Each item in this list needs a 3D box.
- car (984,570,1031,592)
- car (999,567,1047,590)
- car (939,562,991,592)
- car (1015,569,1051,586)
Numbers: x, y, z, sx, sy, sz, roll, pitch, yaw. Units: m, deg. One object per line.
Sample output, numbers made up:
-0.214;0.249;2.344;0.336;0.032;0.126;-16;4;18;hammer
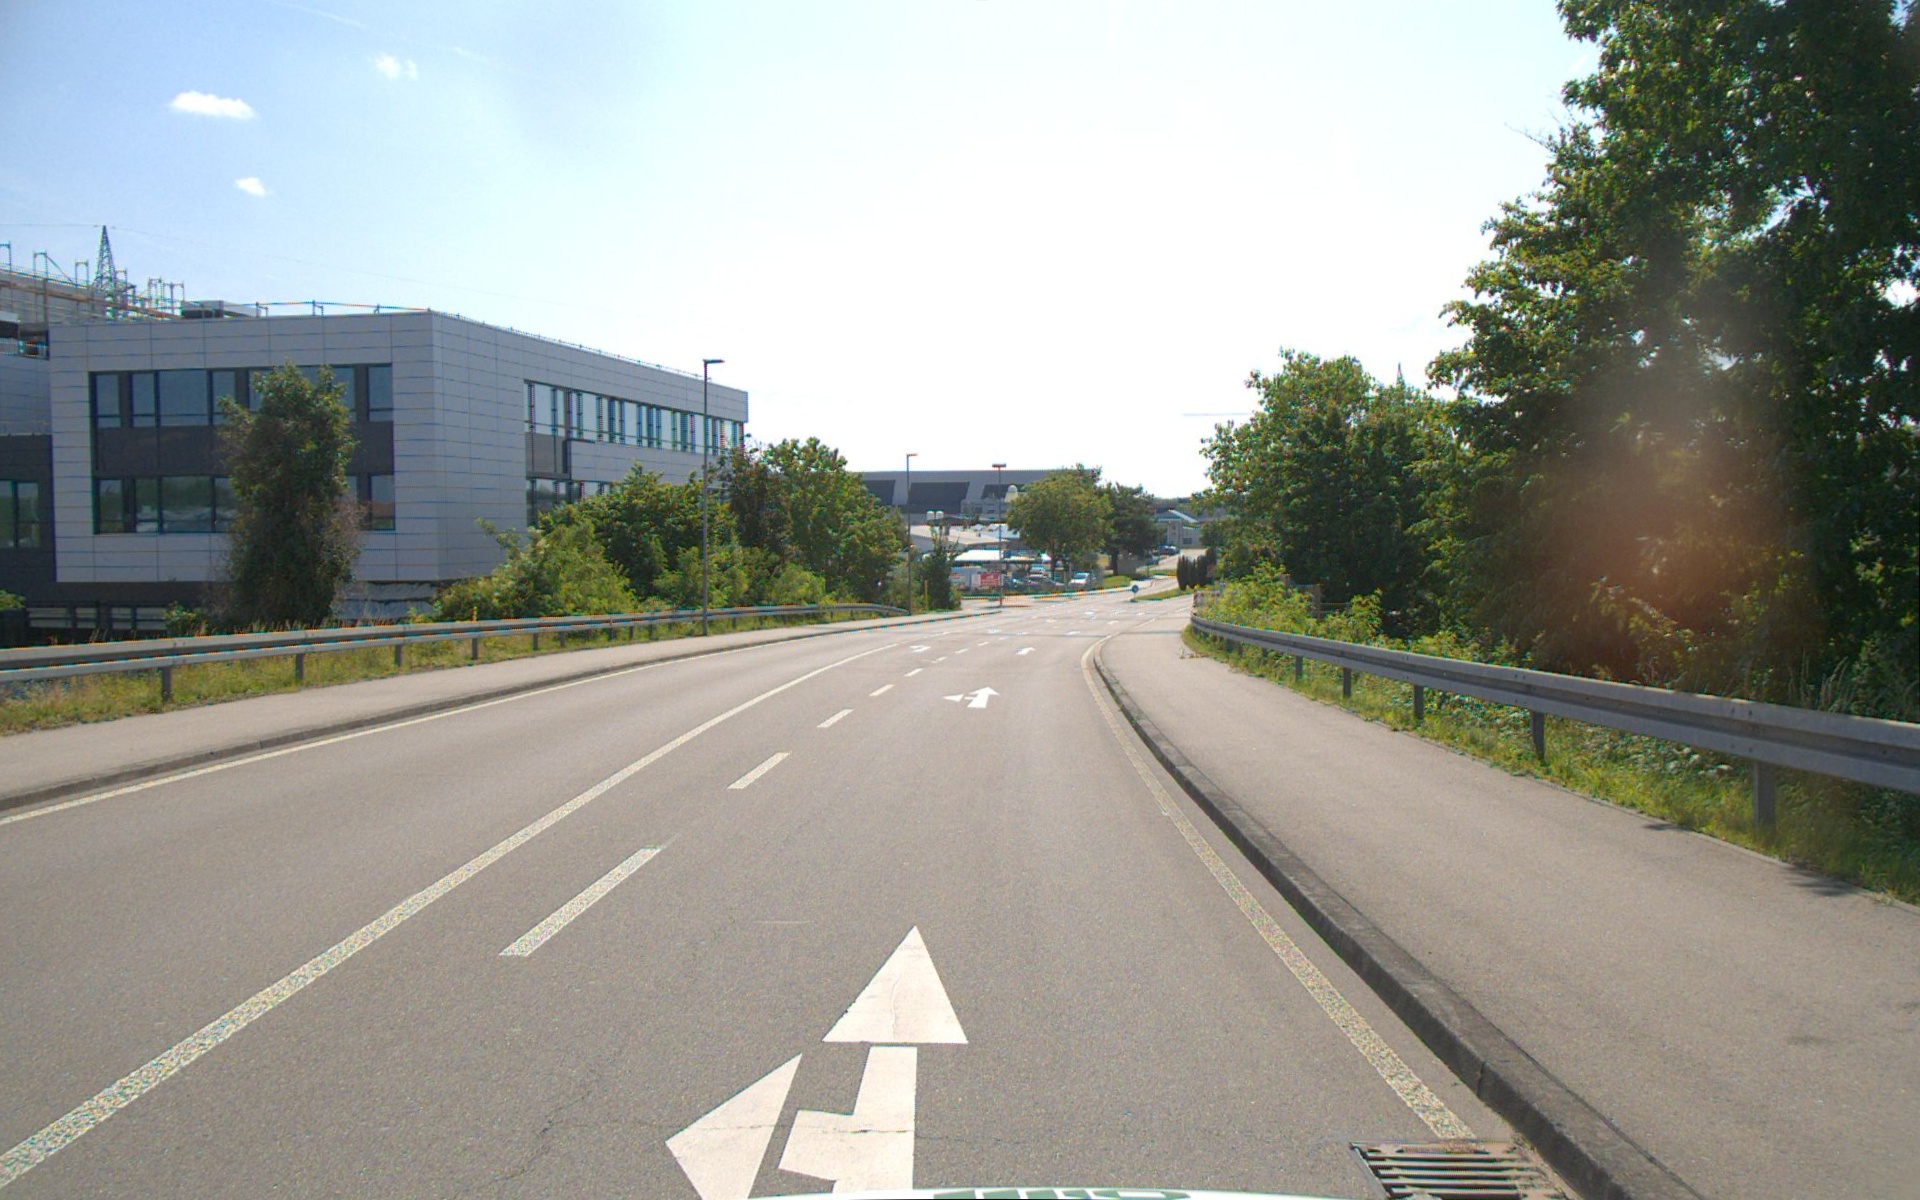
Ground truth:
4.256;-1.720;148.160;3.926;1.811;1.990;3;4;40;car
5.758;-1.956;150.985;3.923;1.936;1.992;2;4;38;car
0.407;-2.028;144.932;4.283;2.654;1.990;1;1;39;car
8.081;-2.462;182.772;3.905;1.882;1.835;0;1;0;car
